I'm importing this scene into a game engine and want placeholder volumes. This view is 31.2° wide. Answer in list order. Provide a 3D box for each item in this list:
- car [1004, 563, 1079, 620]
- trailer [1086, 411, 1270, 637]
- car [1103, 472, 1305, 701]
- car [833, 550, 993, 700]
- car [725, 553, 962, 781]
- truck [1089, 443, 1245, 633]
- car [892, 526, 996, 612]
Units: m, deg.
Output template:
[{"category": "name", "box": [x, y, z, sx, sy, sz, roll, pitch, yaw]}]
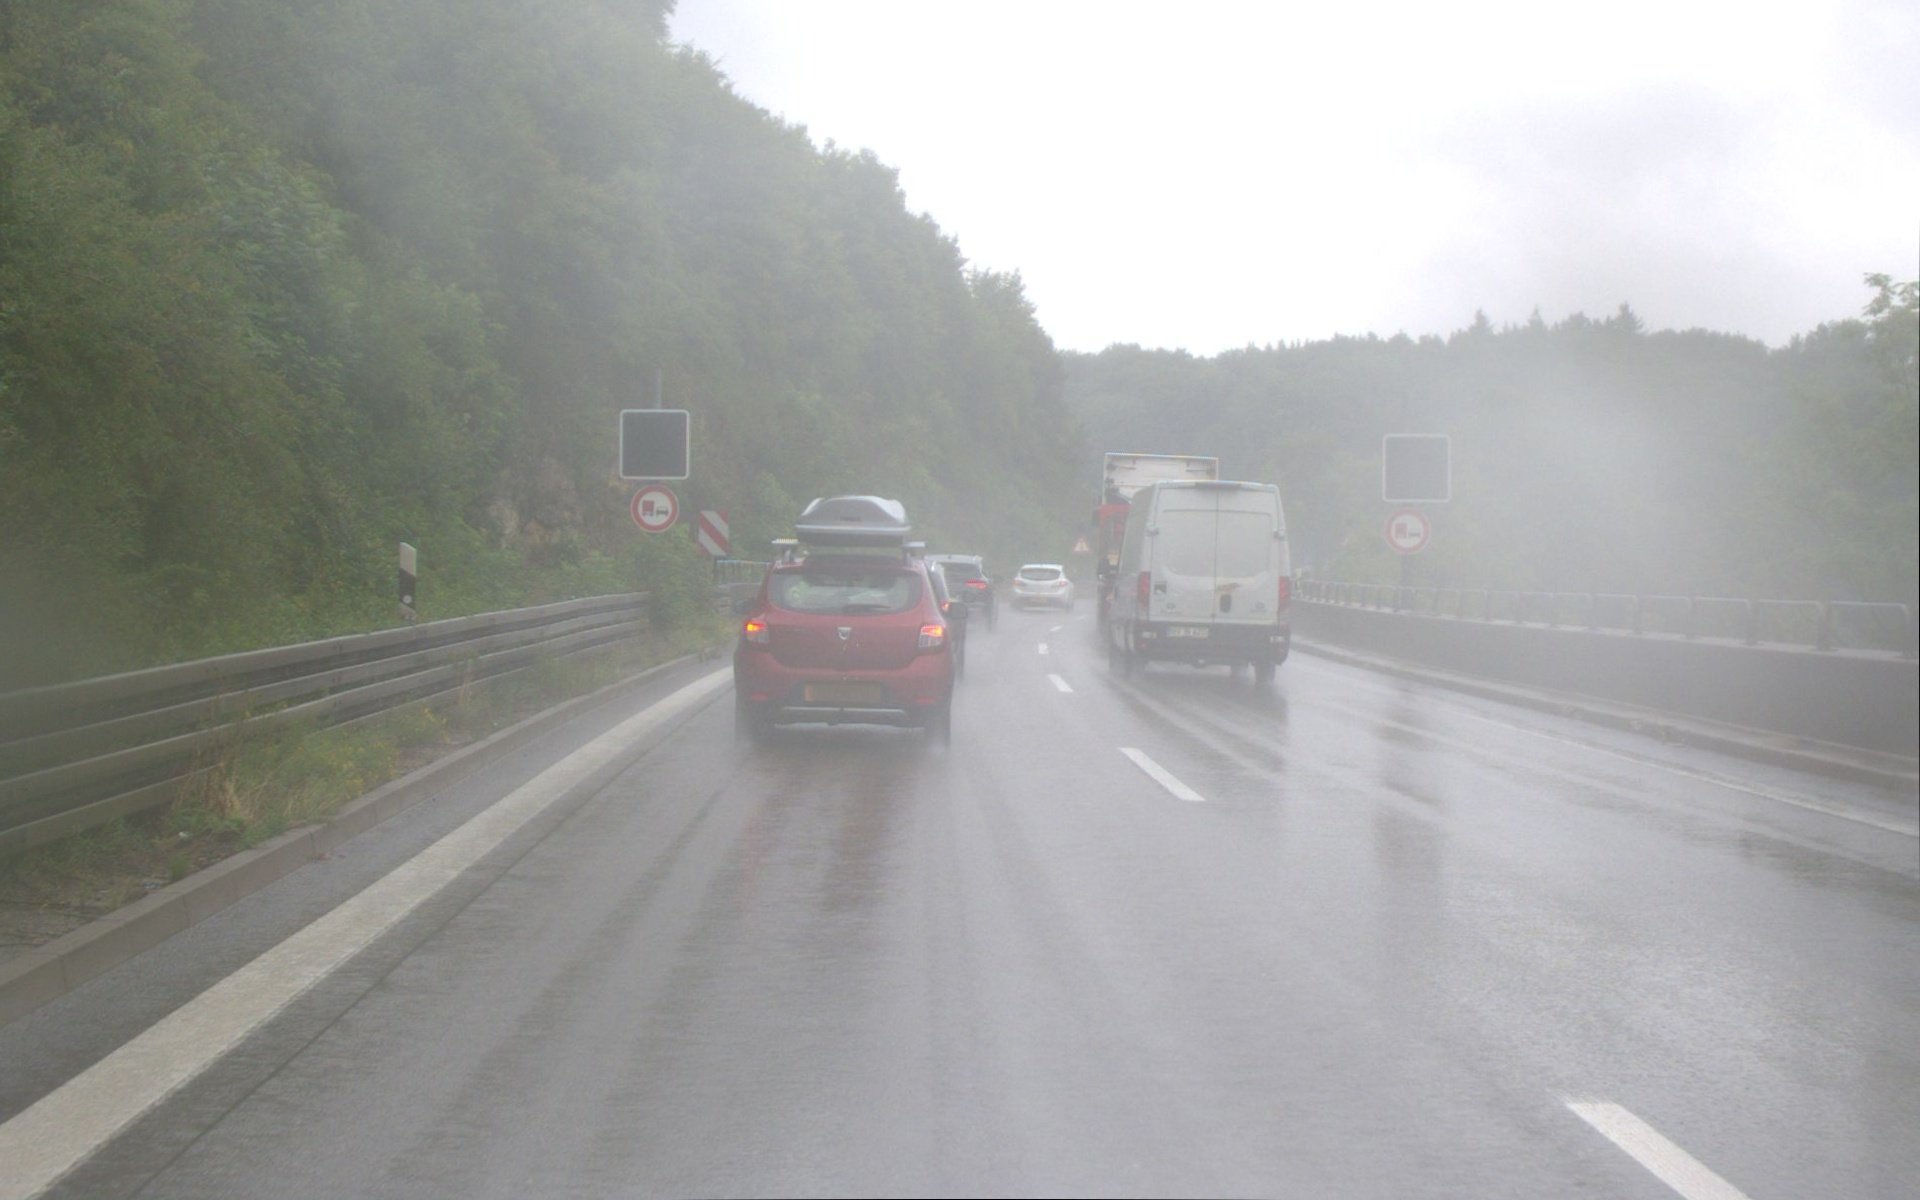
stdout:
[{"category": "car", "box": [2.485, -0.270, 103.824, 1.994, 1.634, 3.999, -2, 0, 5]}, {"category": "trailer", "box": [4.157, -1.410, 67.664, 3.218, 3.985, 13.523, 1, 1, 2]}, {"category": "car", "box": [3.189, -0.213, 46.532, 2.206, 2.784, 7.382, 2, 1, 1]}, {"category": "car", "box": [-0.533, 0.284, 42.130, 1.833, 1.709, 3.645, -2, 0, 1]}, {"category": "car", "box": [-0.906, 0.503, 28.102, 1.758, 1.679, 4.000, -2, 0, -1]}, {"category": "truck", "box": [4.469, -1.323, 74.714, 3.220, 3.964, 5.438, 1, 0, 3]}, {"category": "car", "box": [-0.311, -0.641, 72.235, 1.875, 1.700, 3.888, -2, 0, 4]}]
